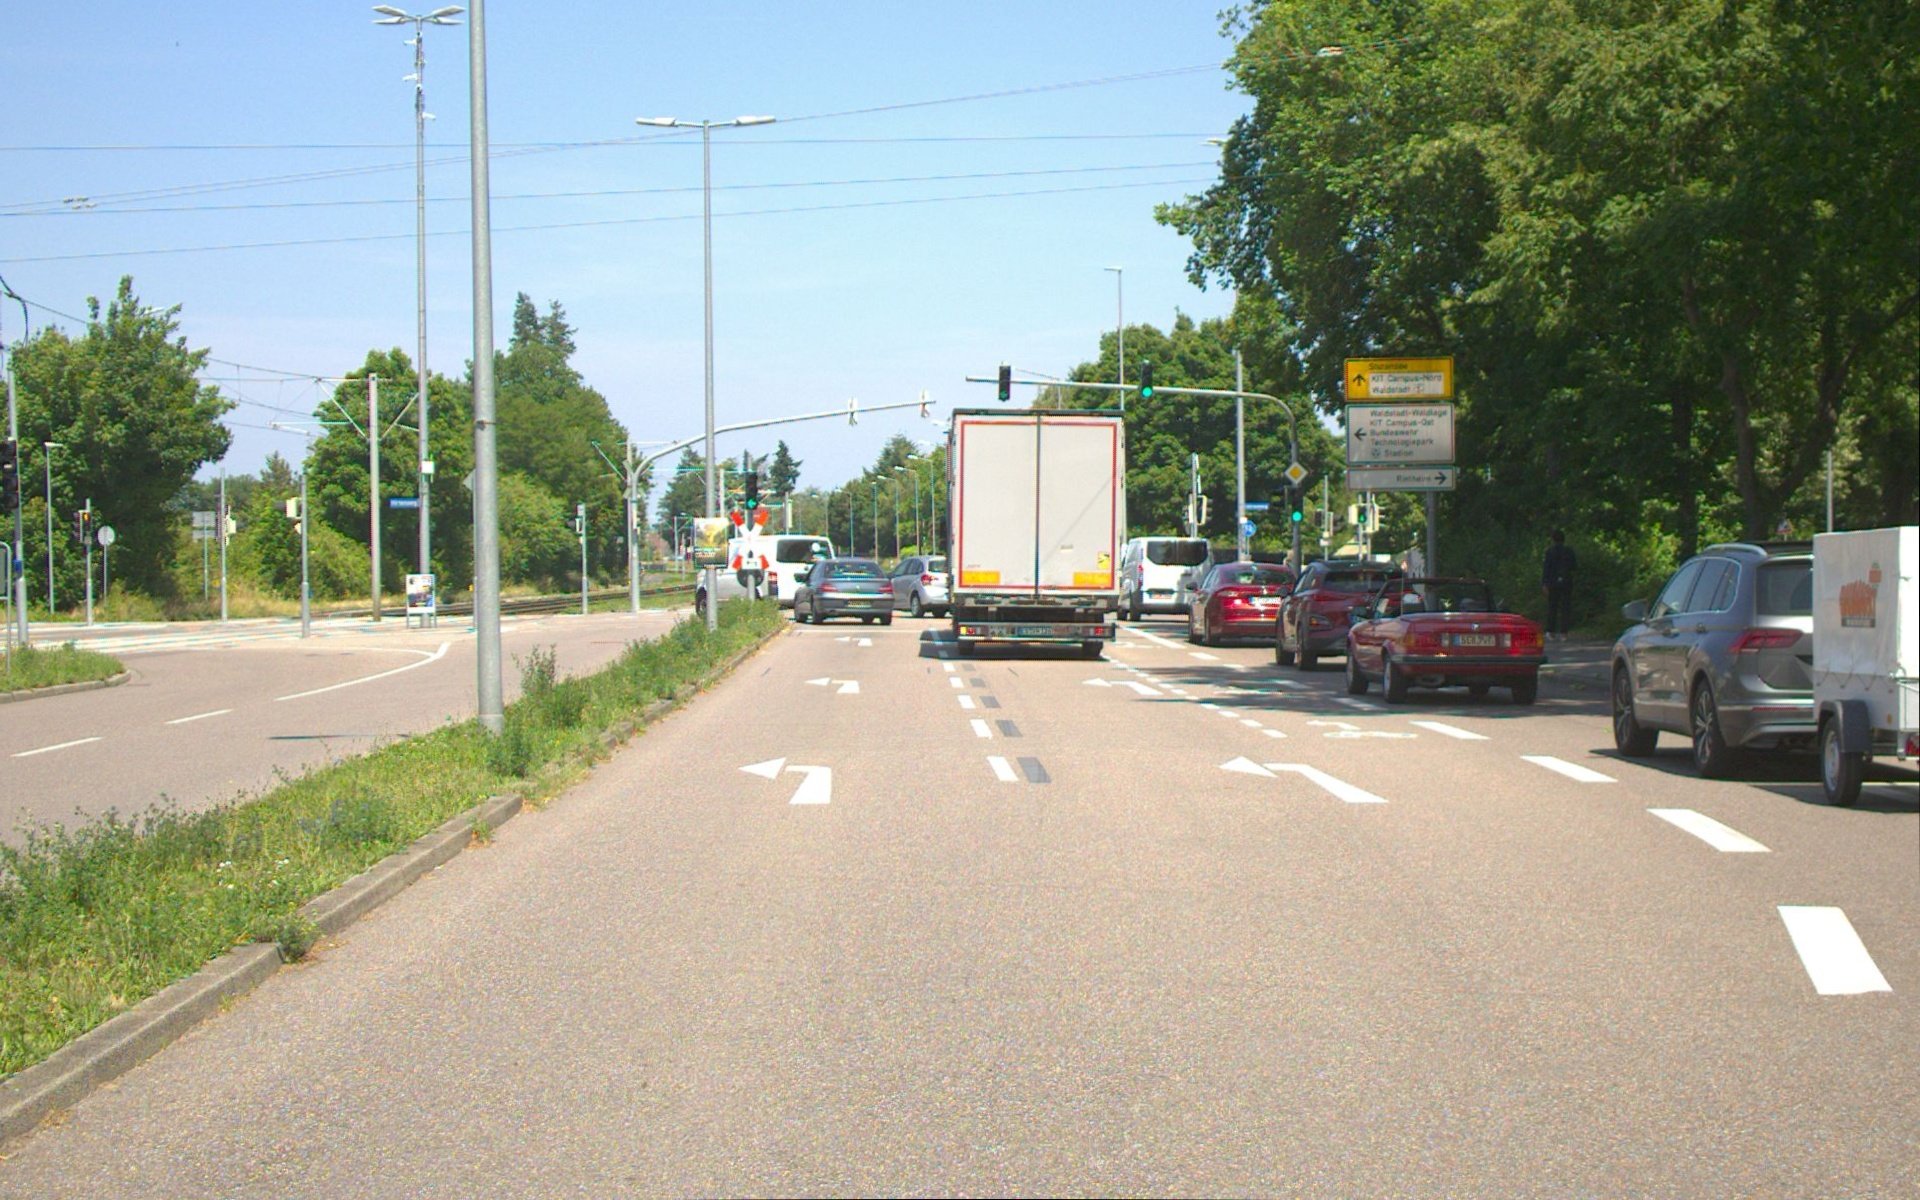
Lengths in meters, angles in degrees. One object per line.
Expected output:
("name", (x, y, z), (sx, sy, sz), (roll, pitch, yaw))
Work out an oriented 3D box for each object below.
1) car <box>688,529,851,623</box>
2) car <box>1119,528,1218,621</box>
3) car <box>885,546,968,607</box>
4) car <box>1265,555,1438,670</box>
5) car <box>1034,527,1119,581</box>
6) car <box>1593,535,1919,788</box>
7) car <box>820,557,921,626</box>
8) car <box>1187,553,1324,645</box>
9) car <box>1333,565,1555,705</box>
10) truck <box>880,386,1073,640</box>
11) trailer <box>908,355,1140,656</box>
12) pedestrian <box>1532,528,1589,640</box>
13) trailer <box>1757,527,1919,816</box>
("car", (-4.531, -0.591, 81.237), (1.993, 2.104, 4.748), (-1, 2, -29))
("car", (4.862, -0.619, 80.672), (1.890, 2.114, 3.887), (1, 1, -2))
("car", (-0.784, -0.591, 83.928), (1.892, 1.367, 4.430), (0, 2, 1))
("car", (5.551, 0.148, 49.150), (1.858, 1.544, 3.887), (1, 1, -2))
("car", (3.229, -1.310, 96.078), (1.993, 1.432, 4.252), (0, 2, -3))
("car", (5.859, 0.372, 24.888), (1.699, 1.648, 4.399), (1, 1, 0))
("car", (-1.891, -0.163, 74.005), (1.892, 1.367, 4.429), (2, 0, 1))
("car", (5.212, -0.048, 61.149), (1.993, 1.498, 4.503), (0, 1, -1))
("car", (5.253, 0.341, 37.802), (1.654, 1.392, 4.268), (1, 1, -2))
("truck", (0.190, -1.631, 63.725), (2.826, 4.329, 8.286), (1, 2, -4))
("trailer", (0.880, -1.477, 55.213), (2.826, 4.406, 8.751), (1, 1, -5))
("pedestrian", (9.867, -0.262, 56.535), (0.753, 1.809, 0.693), (-2, 1, -2))
("trailer", (5.983, 0.397, 21.250), (1.469, 1.663, 2.856), (1, 1, 1))
